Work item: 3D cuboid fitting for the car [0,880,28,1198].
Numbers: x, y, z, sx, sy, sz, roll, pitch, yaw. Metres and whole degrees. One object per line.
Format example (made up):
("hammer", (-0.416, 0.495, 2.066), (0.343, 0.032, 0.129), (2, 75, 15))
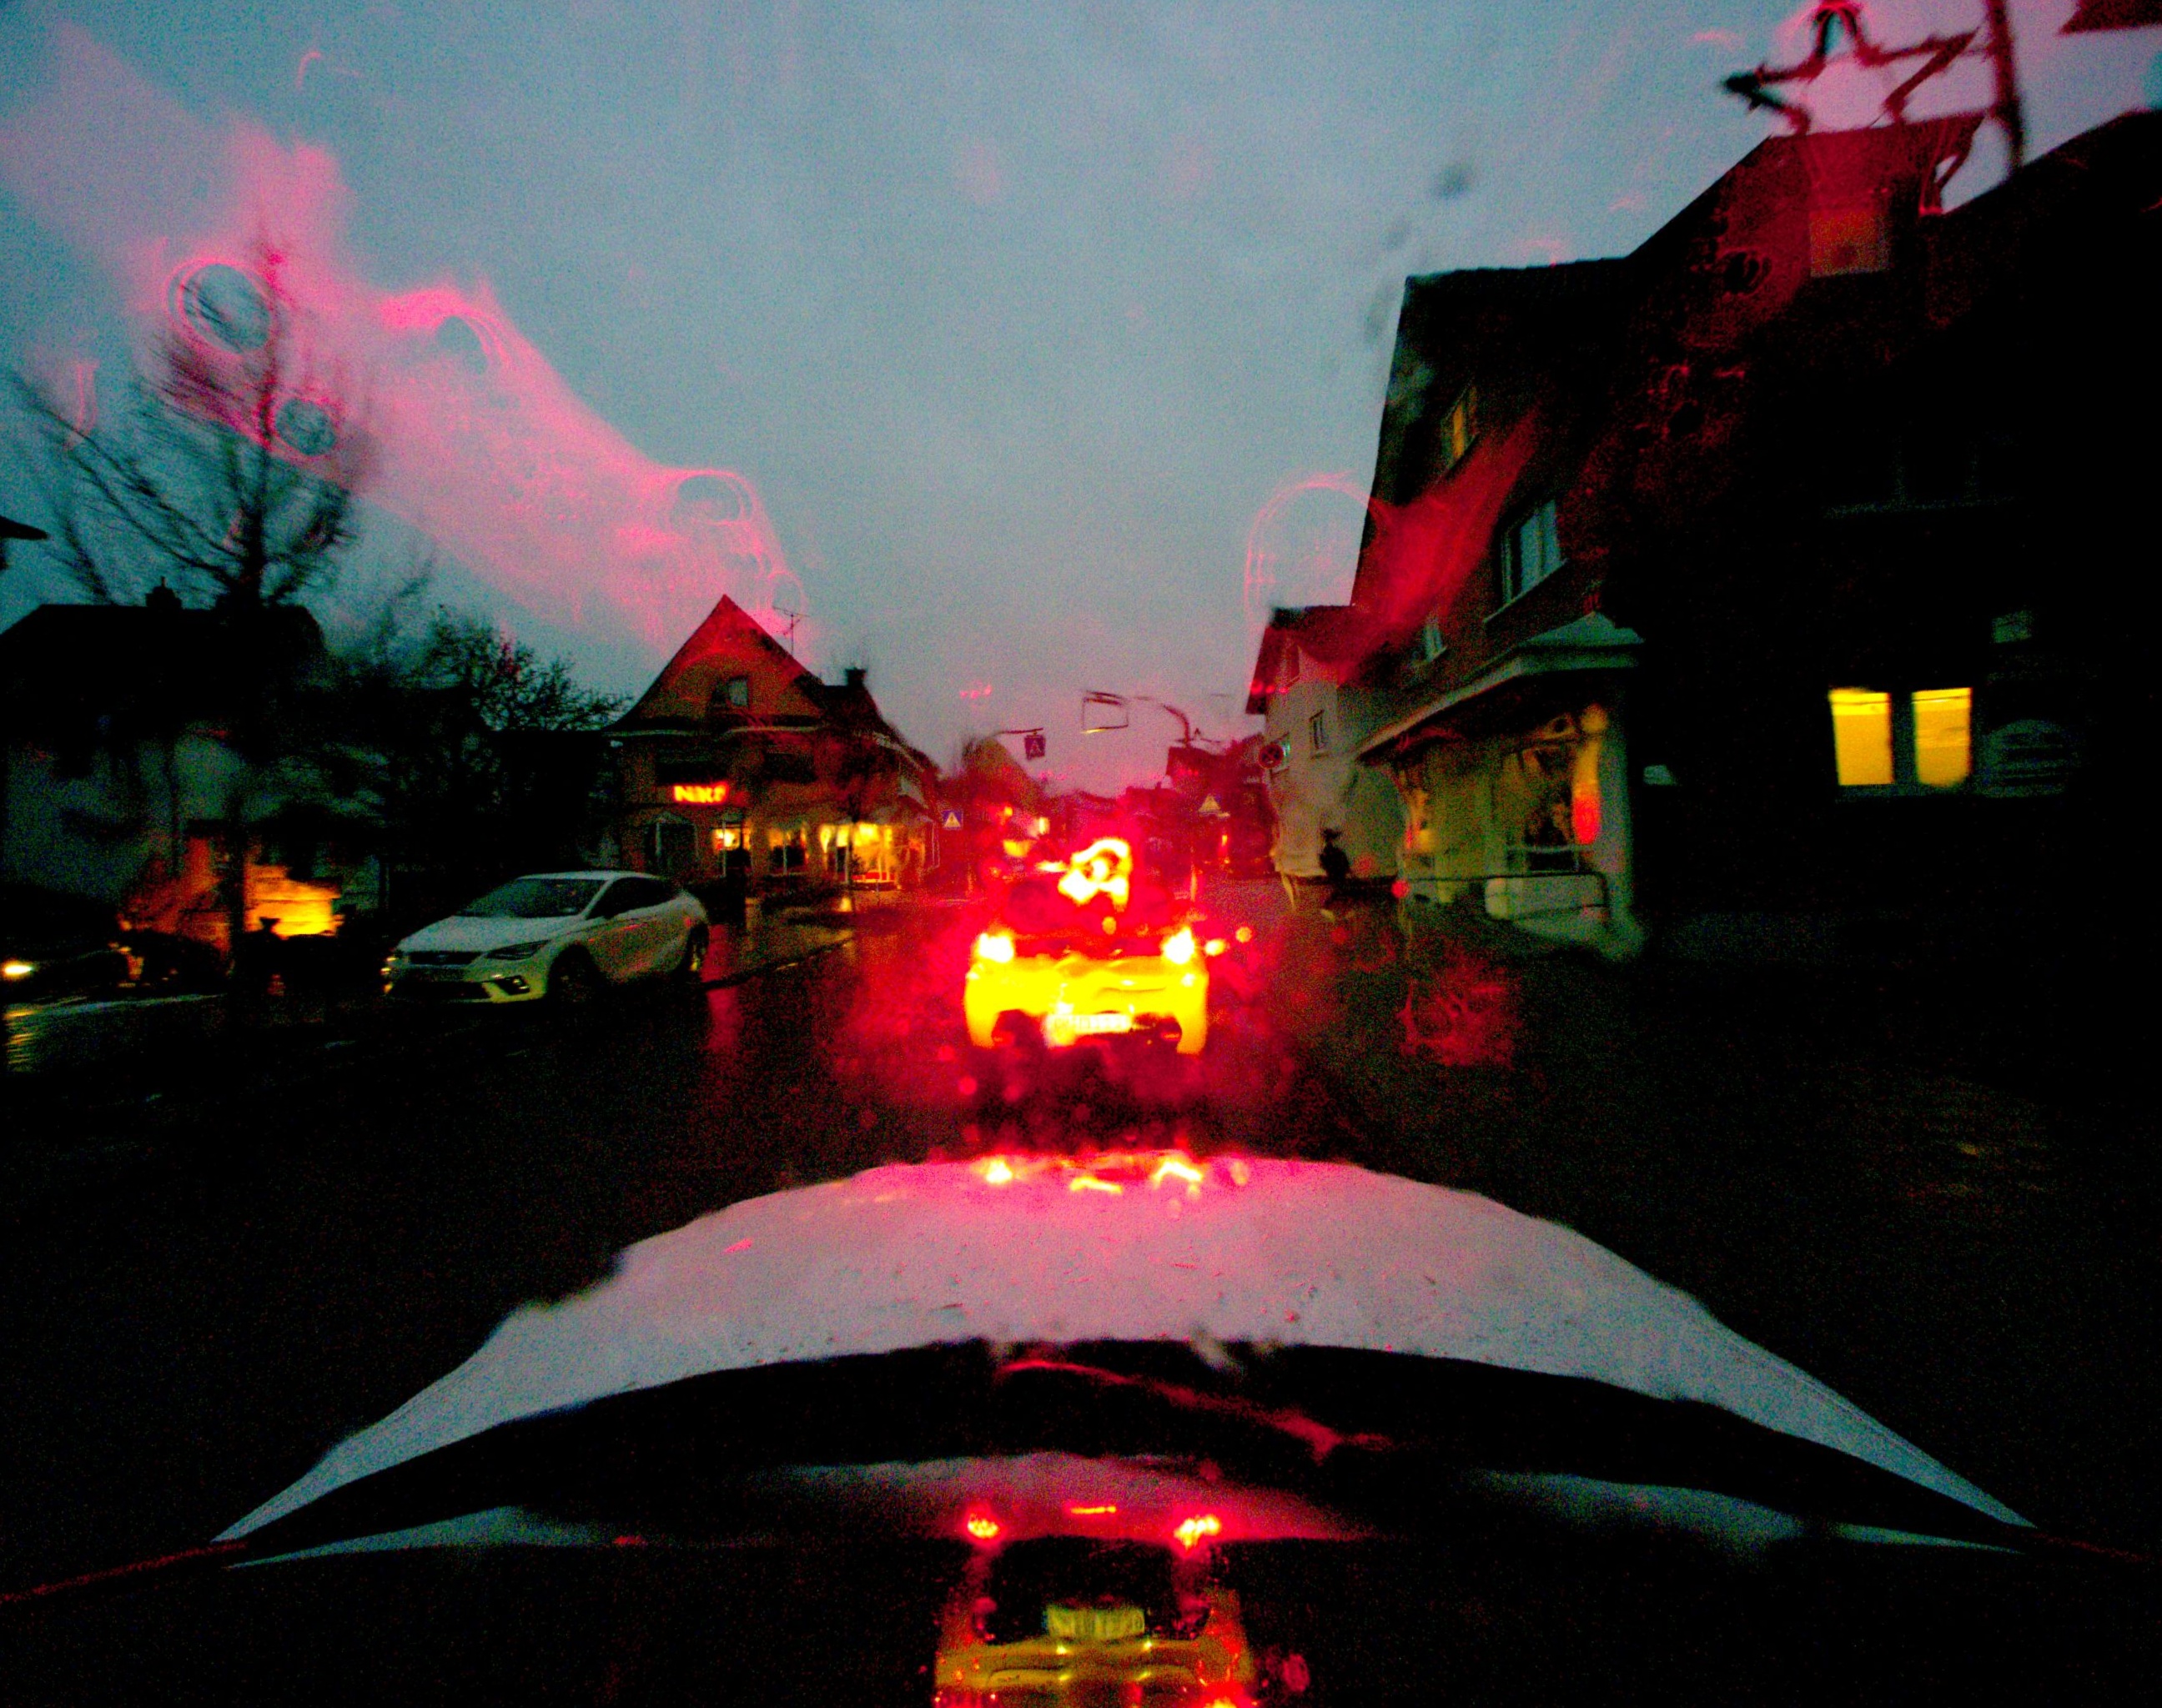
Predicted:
("car", (-6.146, 0.881, 1.847), (1.741, 1.516, 4.345), (0, 0, 3))

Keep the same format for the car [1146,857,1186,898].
("car", (4.505, 1.199, 43.550), (1.637, 2.013, 3.999), (-3, 0, 0))

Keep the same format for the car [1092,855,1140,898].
("car", (1.505, 0.879, 33.702), (1.819, 1.601, 4.586), (-1, 0, 4))

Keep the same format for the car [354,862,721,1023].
("car", (-6.163, 0.877, 9.913), (1.663, 1.516, 4.002), (0, 0, 2))

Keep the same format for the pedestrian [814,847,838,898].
("pedestrian", (-8.844, 0.631, 28.244), (0.586, 1.742, 0.683), (-1, 0, -3))

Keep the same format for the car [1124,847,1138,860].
("car", (5.959, -0.046, 97.197), (1.527, 1.245, 3.652), (-6, 1, 4))

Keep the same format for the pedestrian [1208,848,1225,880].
("pedestrian", (8.850, 0.661, 53.192), (1.011, 2.013, 1.277), (-1, 0, 7))

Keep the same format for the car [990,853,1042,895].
("car", (-3.312, 0.975, 42.372), (1.985, 2.013, 4.366), (-1, 0, 4))

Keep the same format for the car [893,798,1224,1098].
("car", (0.052, 0.560, 7.305), (1.984, 1.795, 4.655), (-2, 1, 5))

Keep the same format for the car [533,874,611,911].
("car", (-26.091, 1.922, 41.895), (1.848, 1.720, 3.989), (-1, -1, -7))

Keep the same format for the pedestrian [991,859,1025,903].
("pedestrian", (-2.459, 0.906, 27.540), (0.886, 1.417, 0.777), (5, -1, 6))

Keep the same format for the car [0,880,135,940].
("car", (-29.346, 1.556, 22.535), (3.894, 1.519, 1.609), (-1, 0, -12))

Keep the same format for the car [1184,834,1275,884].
("car", (6.220, 0.221, 34.416), (3.679, 2.014, 1.691), (-1, -1, 5))

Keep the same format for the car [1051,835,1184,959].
("car", (0.612, 0.606, 13.061), (1.790, 1.662, 4.003), (-1, -1, 3))

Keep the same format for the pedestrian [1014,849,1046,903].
("pedestrian", (-1.651, 0.709, 26.769), (0.970, 1.742, 0.961), (0, 1, 1))

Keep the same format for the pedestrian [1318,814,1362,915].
("pedestrian", (4.963, 0.207, 15.620), (0.659, 1.888, 0.826), (-1, -1, 8))

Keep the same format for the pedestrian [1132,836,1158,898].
("pedestrian", (1.989, 0.390, 25.260), (0.702, 1.876, 0.616), (0, 0, -5))
